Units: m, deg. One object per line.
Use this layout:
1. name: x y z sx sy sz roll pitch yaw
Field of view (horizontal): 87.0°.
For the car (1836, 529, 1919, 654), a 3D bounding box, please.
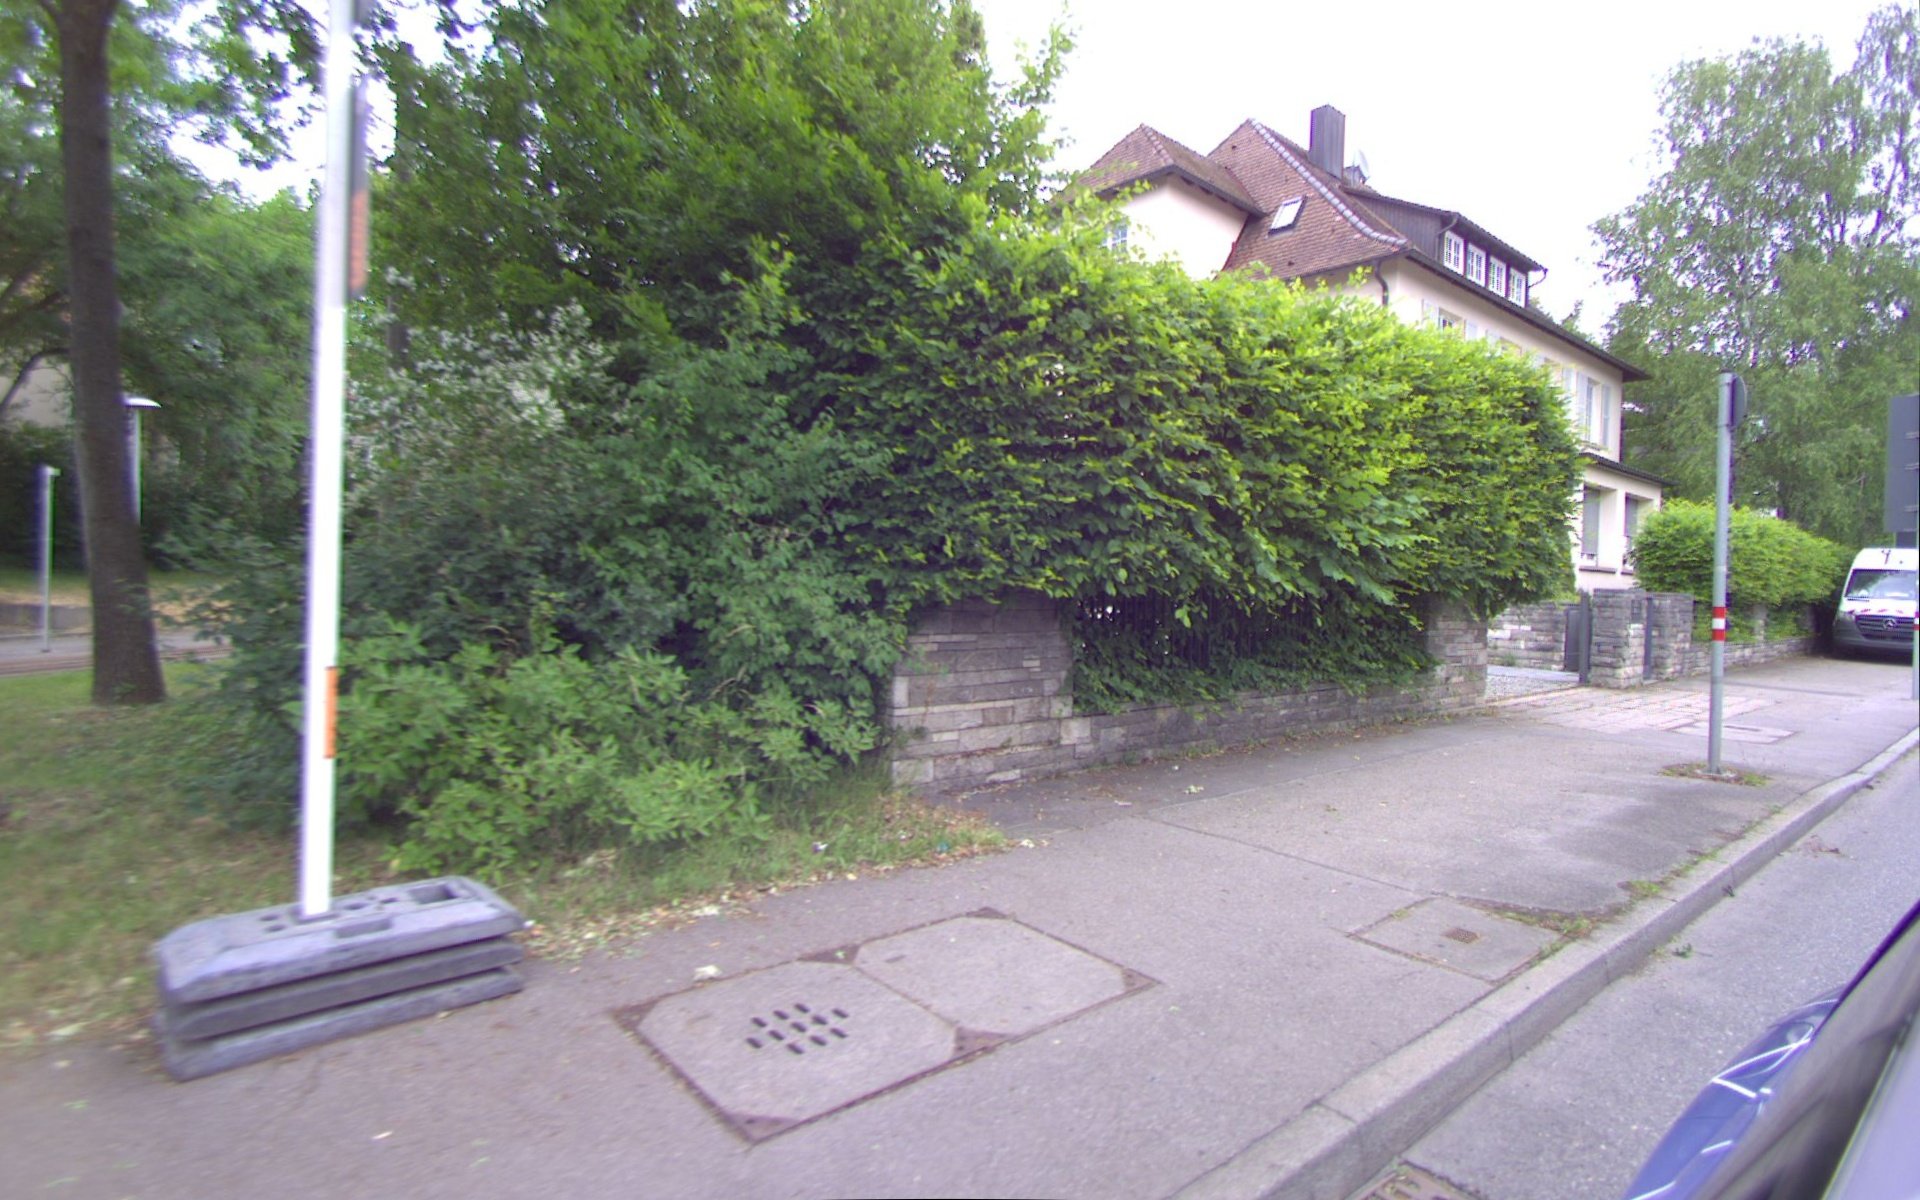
1. car: 22.514 -0.227 23.862 6.570 2.636 2.092 -1 3 -43
